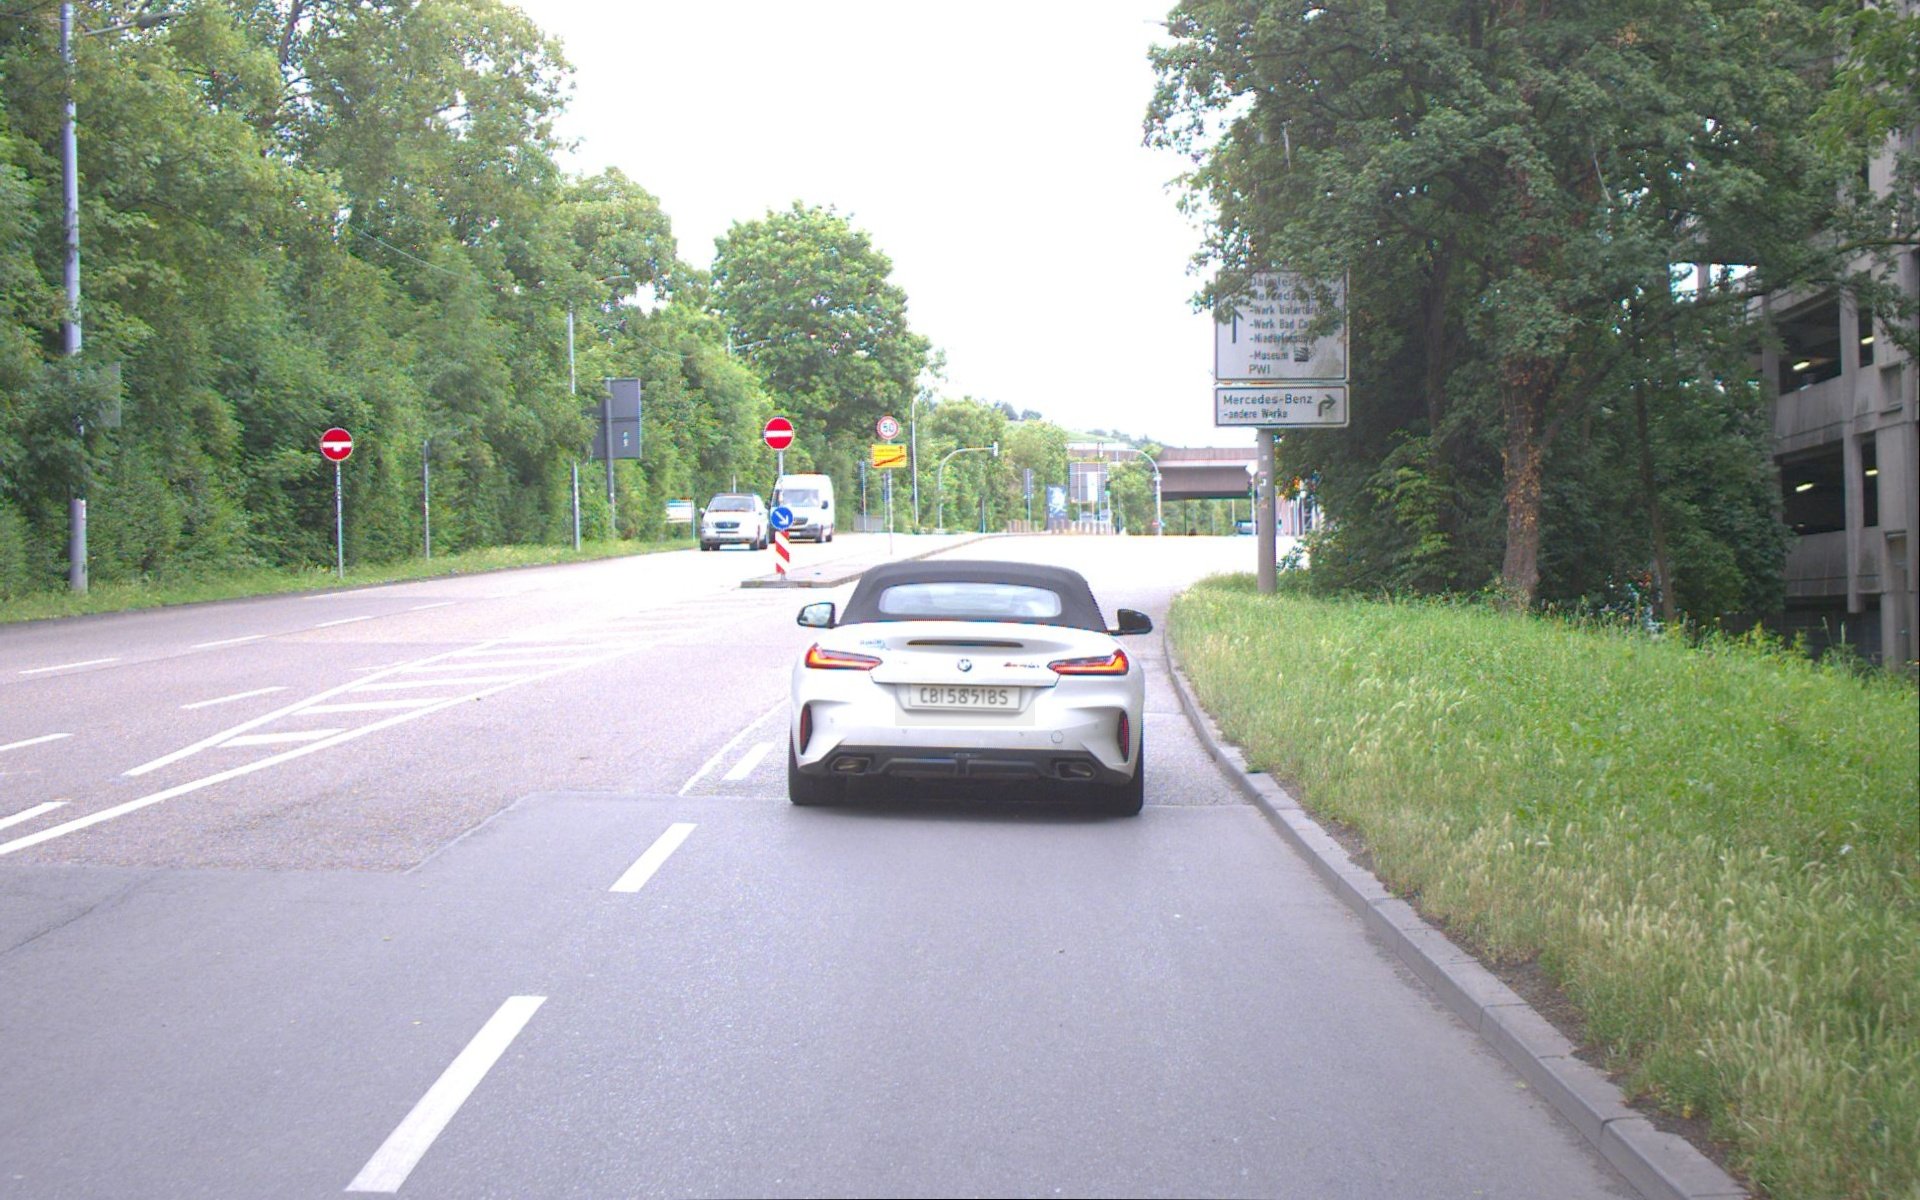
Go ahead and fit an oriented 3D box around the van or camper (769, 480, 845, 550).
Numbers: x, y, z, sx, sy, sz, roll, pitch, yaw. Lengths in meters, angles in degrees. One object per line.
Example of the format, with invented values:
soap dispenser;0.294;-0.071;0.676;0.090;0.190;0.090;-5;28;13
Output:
van or camper;-5.781;-3.212;130.399;2.283;2.546;6.859;1;1;2

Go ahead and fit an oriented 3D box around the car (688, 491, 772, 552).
car;-7.206;-2.486;108.057;1.814;1.824;4.383;0;2;7

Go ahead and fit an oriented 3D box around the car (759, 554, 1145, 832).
car;0.008;0.440;19.102;1.875;1.305;3.873;3;1;2
